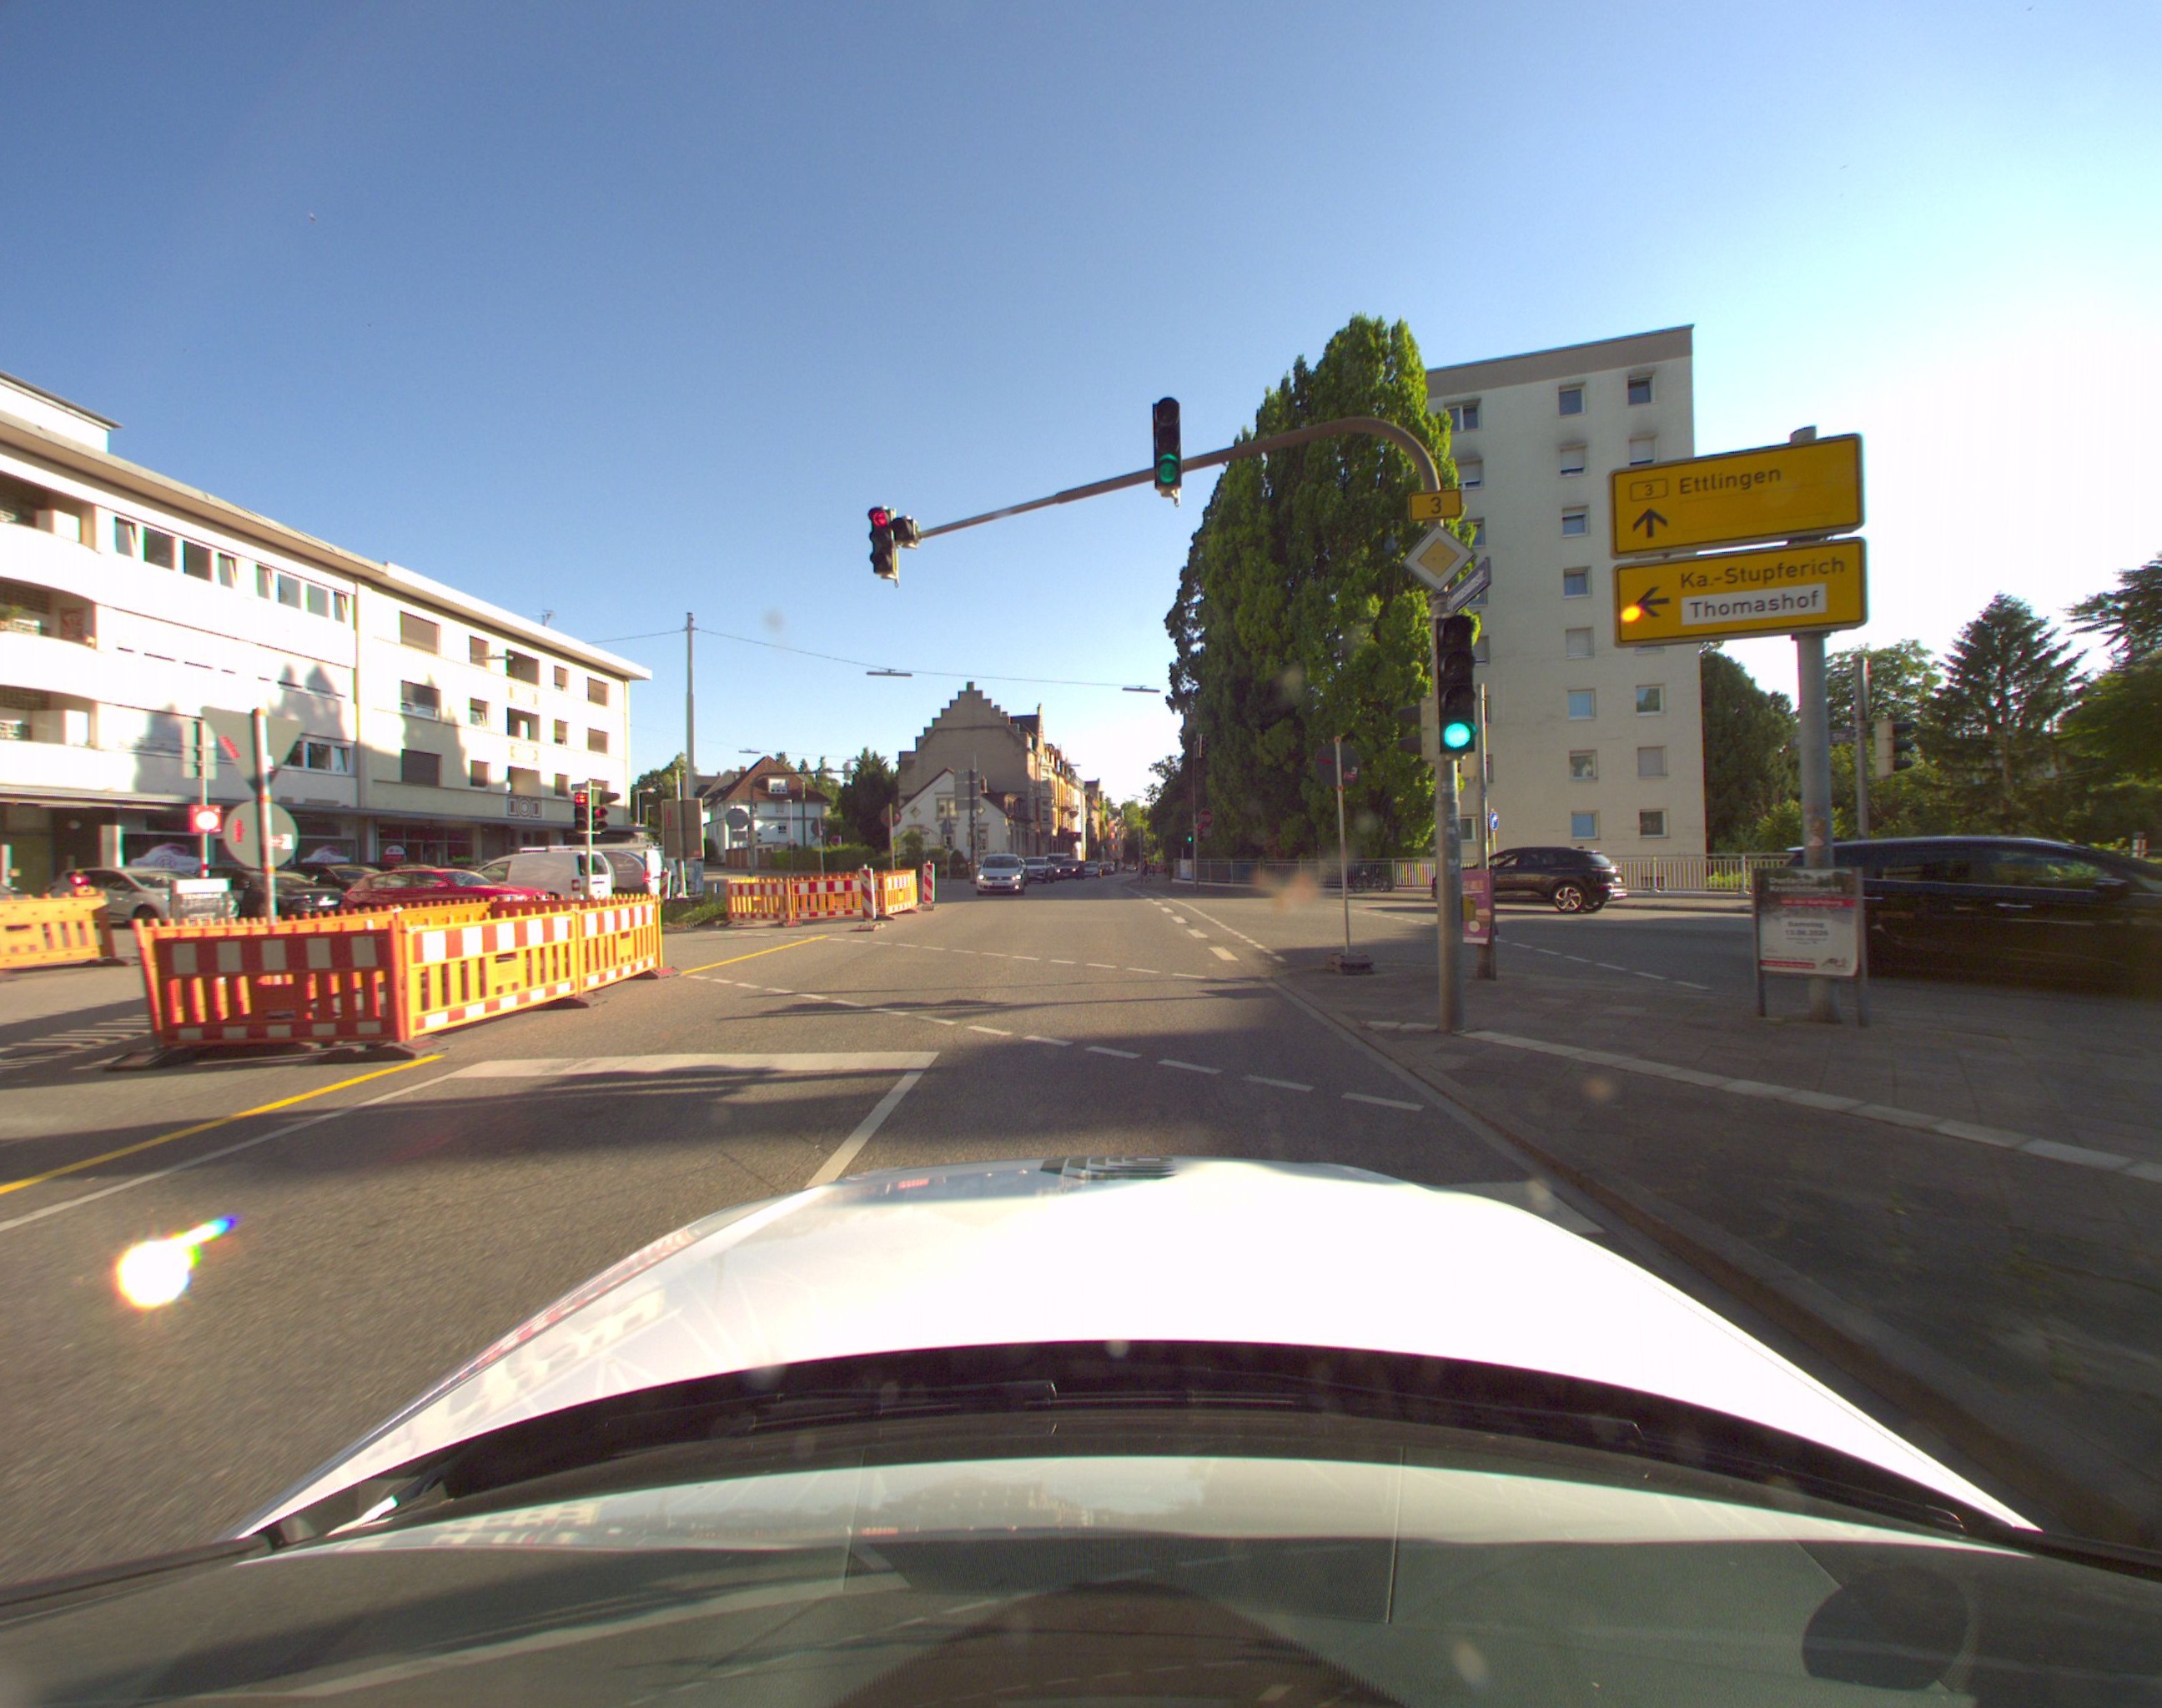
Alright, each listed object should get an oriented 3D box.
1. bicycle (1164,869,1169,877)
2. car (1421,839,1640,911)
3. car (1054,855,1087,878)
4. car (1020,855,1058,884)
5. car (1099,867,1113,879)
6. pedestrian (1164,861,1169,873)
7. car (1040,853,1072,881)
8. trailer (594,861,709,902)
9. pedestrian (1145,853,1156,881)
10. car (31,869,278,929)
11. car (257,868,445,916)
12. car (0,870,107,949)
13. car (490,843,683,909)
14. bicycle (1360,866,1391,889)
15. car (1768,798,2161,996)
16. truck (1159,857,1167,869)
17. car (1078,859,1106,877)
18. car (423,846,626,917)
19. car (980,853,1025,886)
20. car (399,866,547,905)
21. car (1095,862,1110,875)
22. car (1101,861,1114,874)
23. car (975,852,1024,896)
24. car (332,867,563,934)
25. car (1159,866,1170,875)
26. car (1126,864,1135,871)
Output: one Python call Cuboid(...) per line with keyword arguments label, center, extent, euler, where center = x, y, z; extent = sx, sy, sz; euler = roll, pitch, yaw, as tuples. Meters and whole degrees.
Cuboid(label="bicycle", center=(10.555, 2.368, 100.749), extent=(0.564, 0.970, 0.493), euler=(0, 0, 3))
Cuboid(label="car", center=(11.586, 0.542, 21.239), extent=(2.011, 1.670, 4.607), euler=(3, -3, -42))
Cuboid(label="car", center=(-0.763, 0.946, 63.137), extent=(1.943, 1.648, 4.291), euler=(0, 0, 7))
Cuboid(label="car", center=(-2.547, 0.900, 50.236), extent=(1.767, 1.648, 4.540), euler=(0, 0, 4))
Cuboid(label="car", center=(3.533, 2.707, 116.168), extent=(1.694, 1.738, 3.862), euler=(0, -1, 5))
Cuboid(label="pedestrian", center=(10.598, 1.607, 101.350), extent=(0.595, 1.403, 0.669), euler=(0, 0, 5))
Cuboid(label="car", center=(-2.303, 1.196, 75.816), extent=(2.057, 2.460, 6.025), euler=(0, -1, 7))
Cuboid(label="trailer", center=(-15.260, 0.944, 29.039), extent=(3.243, 1.397, 1.574), euler=(0, 0, 0))
Cuboid(label="pedestrian", center=(4.179, 0.775, 49.230), extent=(0.599, 1.693, 0.613), euler=(-2, 0, 5))
Cuboid(label="car", center=(-23.732, 1.103, 20.969), extent=(4.293, 1.398, 2.003), euler=(0, 0, 5))
Cuboid(label="car", center=(-23.130, 1.171, 25.913), extent=(4.293, 1.398, 2.003), euler=(0, 0, 5))
Cuboid(label="car", center=(-23.486, 1.124, 16.933), extent=(4.293, 1.510, 2.003), euler=(0, 0, 5))
Cuboid(label="car", center=(-15.168, 0.644, 25.176), extent=(4.651, 1.964, 2.118), euler=(0, 0, 0))
Cuboid(label="bicycle", center=(11.862, 0.937, 32.769), extent=(1.292, 0.903, 0.406), euler=(0, 0, -29))
Cuboid(label="car", center=(10.383, 0.365, 8.799), extent=(2.010, 1.815, 4.203), euler=(-4, 3, -39))
Cuboid(label="truck", center=(19.741, 2.186, 195.996), extent=(1.983, 2.897, 4.478), euler=(-2, 0, 6))
Cuboid(label="car", center=(1.093, 1.294, 76.767), extent=(1.941, 1.648, 4.295), euler=(0, 0, 10))
Cuboid(label="car", center=(-15.211, 0.715, 22.397), extent=(4.292, 1.852, 2.003), euler=(0, 0, 5))
Cuboid(label="car", center=(-3.776, 0.725, 39.793), extent=(1.770, 1.480, 4.096), euler=(0, 0, 0))
Cuboid(label="car", center=(-23.330, 1.169, 31.340), extent=(4.293, 1.398, 2.003), euler=(0, 0, 5))
Cuboid(label="car", center=(2.925, 1.890, 110.113), extent=(1.693, 1.708, 4.449), euler=(0, -1, 7))
Cuboid(label="car", center=(4.151, 2.133, 126.705), extent=(1.784, 2.010, 4.704), euler=(0, -1, 5))
Cuboid(label="car", center=(-3.120, 0.721, 31.421), extent=(1.773, 1.543, 3.992), euler=(0, 0, -6))
Cuboid(label="car", center=(-15.271, 1.097, 19.821), extent=(3.980, 1.479, 1.999), euler=(0, 0, -2))
Cuboid(label="car", center=(15.917, 3.139, 154.973), extent=(1.982, 1.517, 4.009), euler=(-2, 0, 8))
Cuboid(label="car", center=(11.450, 3.027, 188.078), extent=(1.983, 1.491, 4.478), euler=(-2, 0, 6))
